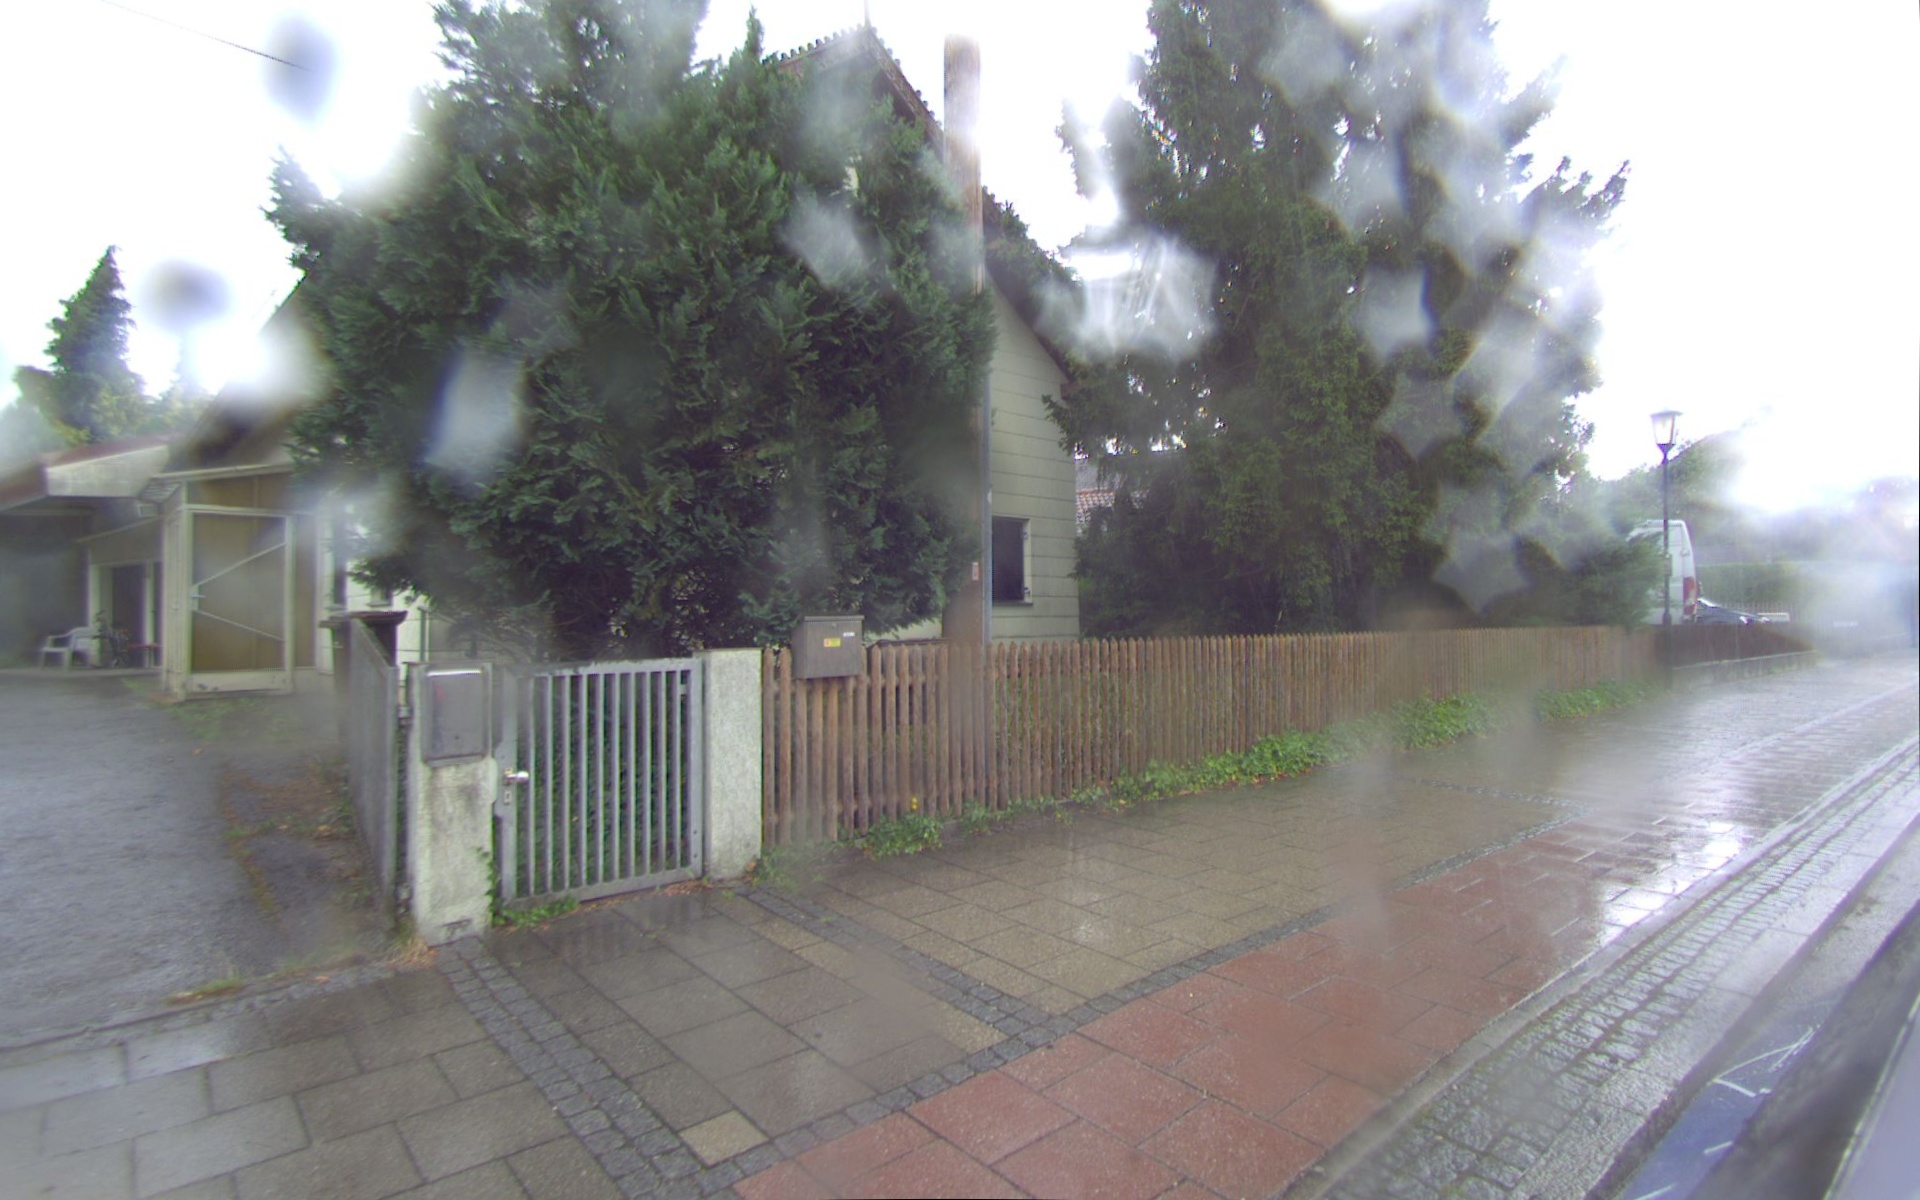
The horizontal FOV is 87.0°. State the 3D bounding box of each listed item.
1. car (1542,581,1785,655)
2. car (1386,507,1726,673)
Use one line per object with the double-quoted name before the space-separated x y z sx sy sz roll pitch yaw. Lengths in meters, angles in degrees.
"car" 16.265 0.337 23.538 4.428 1.438 1.803 3 3 42
"car" 11.217 -0.268 19.344 5.299 2.761 1.971 3 2 41
